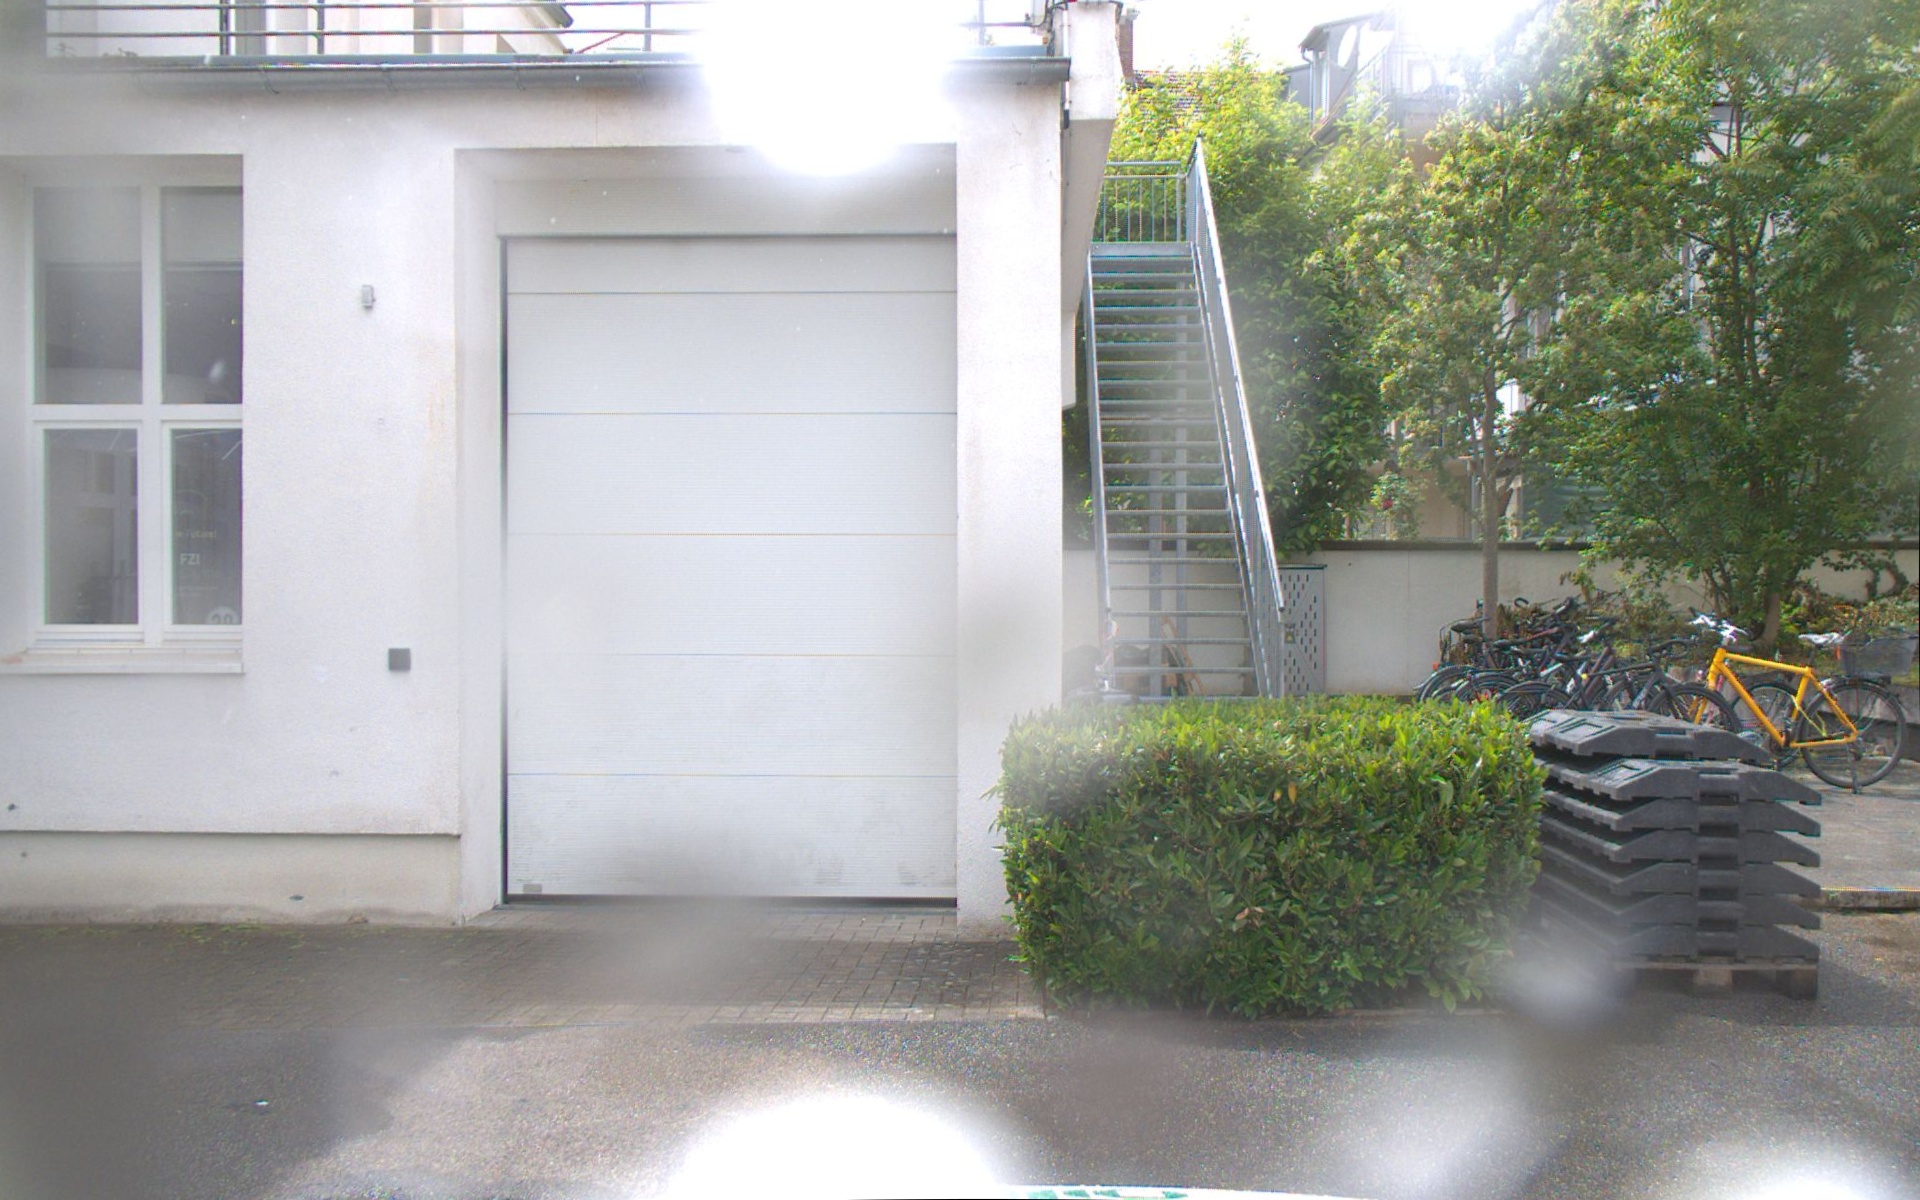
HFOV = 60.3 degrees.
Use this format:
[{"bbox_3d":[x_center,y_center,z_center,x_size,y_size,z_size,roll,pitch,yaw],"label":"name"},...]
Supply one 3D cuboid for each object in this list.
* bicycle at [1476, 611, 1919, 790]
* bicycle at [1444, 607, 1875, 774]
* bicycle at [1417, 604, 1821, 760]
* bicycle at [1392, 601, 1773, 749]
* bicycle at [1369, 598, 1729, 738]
[{"bbox_3d":[4.983,0.658,11.030,2.864,1.097,0.689,1,2,-1],"label":"bicycle"},{"bbox_3d":[4.953,0.632,11.809,2.785,1.097,0.689,1,2,-1],"label":"bicycle"},{"bbox_3d":[4.954,0.608,12.533,2.785,1.097,0.689,1,2,-1],"label":"bicycle"},{"bbox_3d":[4.946,0.585,13.247,2.785,1.097,0.689,1,2,-1],"label":"bicycle"},{"bbox_3d":[4.937,0.562,13.954,2.785,1.097,0.689,1,2,-1],"label":"bicycle"}]
